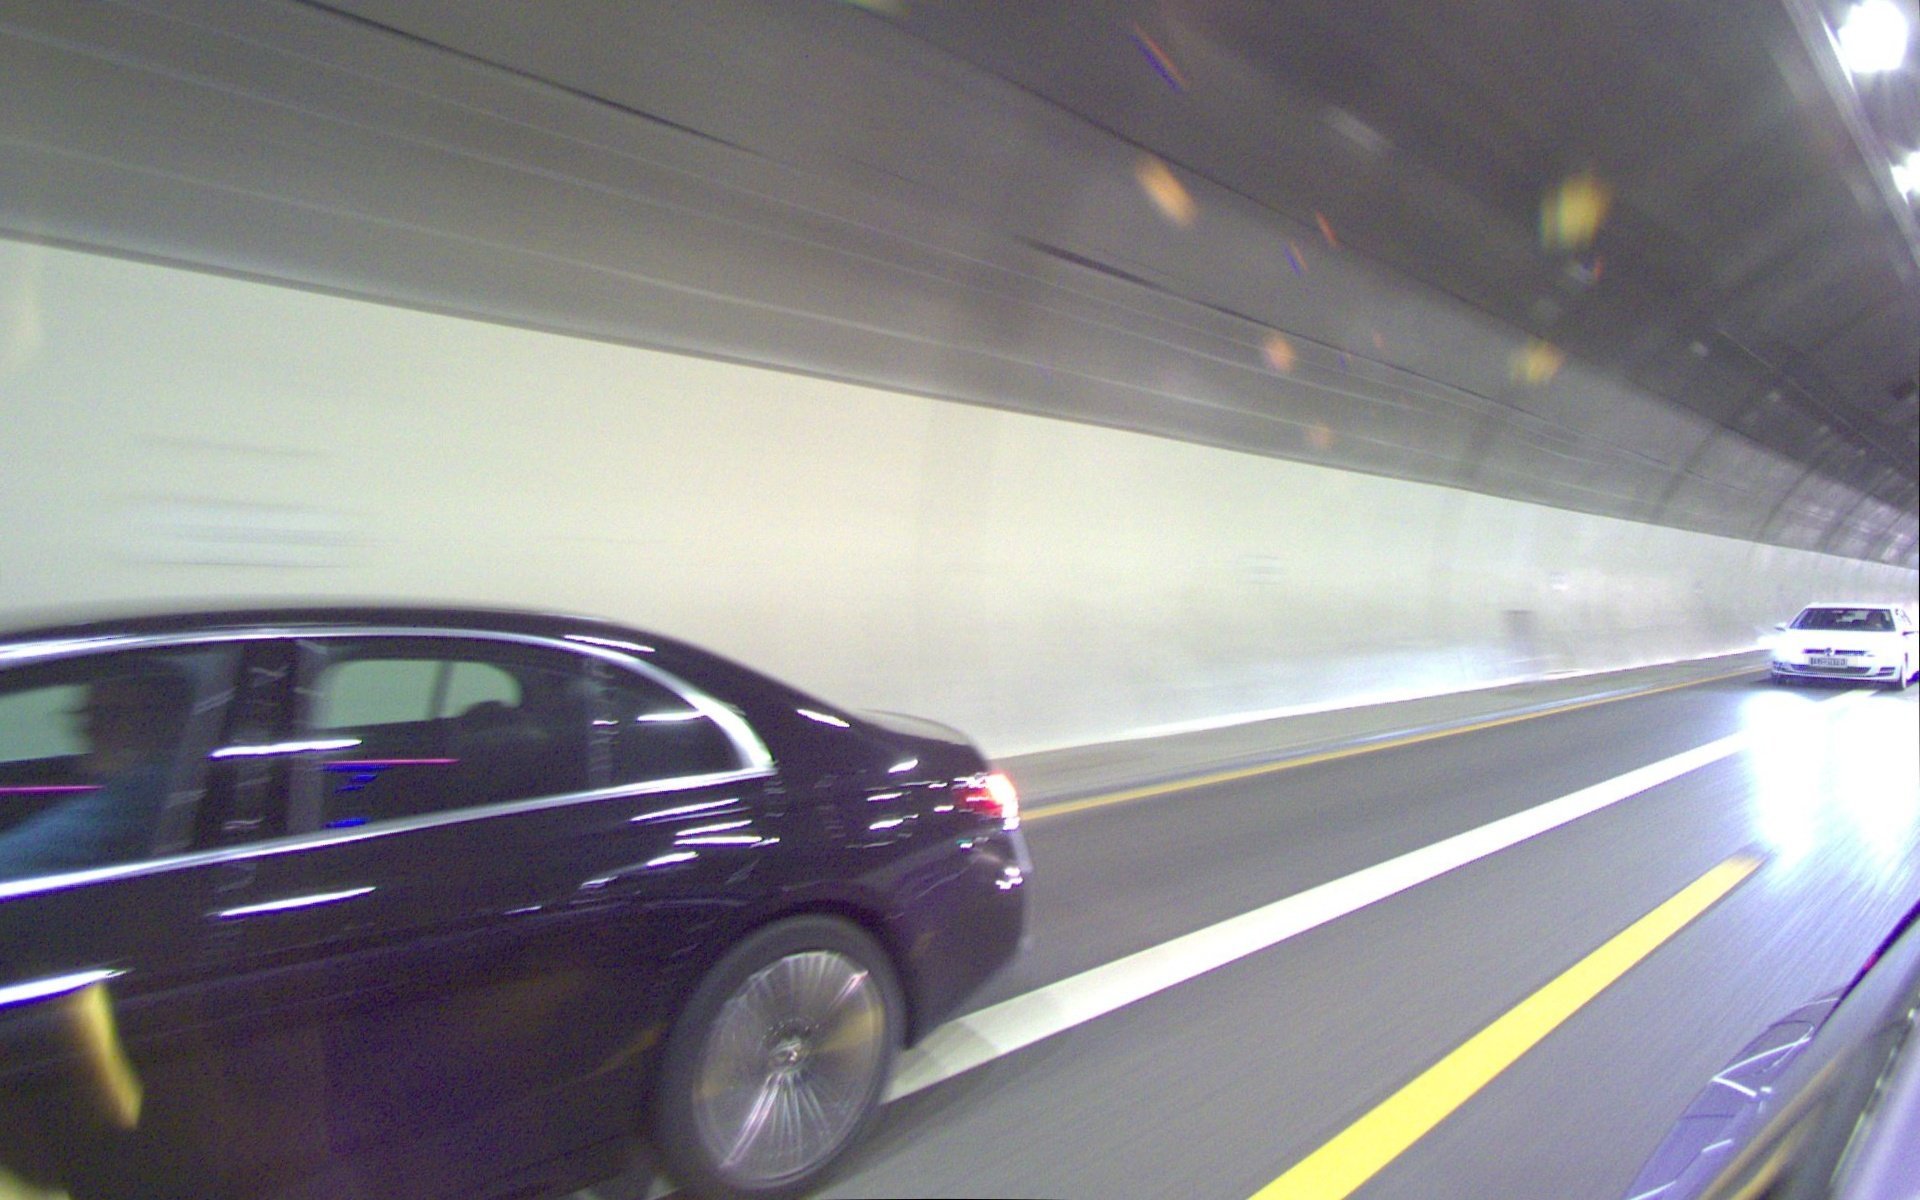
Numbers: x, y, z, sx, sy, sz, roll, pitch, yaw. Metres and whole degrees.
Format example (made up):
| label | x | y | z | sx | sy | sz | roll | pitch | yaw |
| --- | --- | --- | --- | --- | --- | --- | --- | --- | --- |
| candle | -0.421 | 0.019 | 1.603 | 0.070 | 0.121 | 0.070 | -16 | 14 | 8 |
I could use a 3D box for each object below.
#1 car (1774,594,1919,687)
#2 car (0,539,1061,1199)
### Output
| label | x | y | z | sx | sy | sz | roll | pitch | yaw |
| --- | --- | --- | --- | --- | --- | --- | --- | --- | --- |
| car | 16.165 | 0.635 | 18.058 | 3.962 | 1.479 | 1.801 | 0 | 0 | -39 |
| car | -2.171 | 0.661 | 2.114 | 4.867 | 1.491 | 1.929 | -1 | 0 | -41 |
